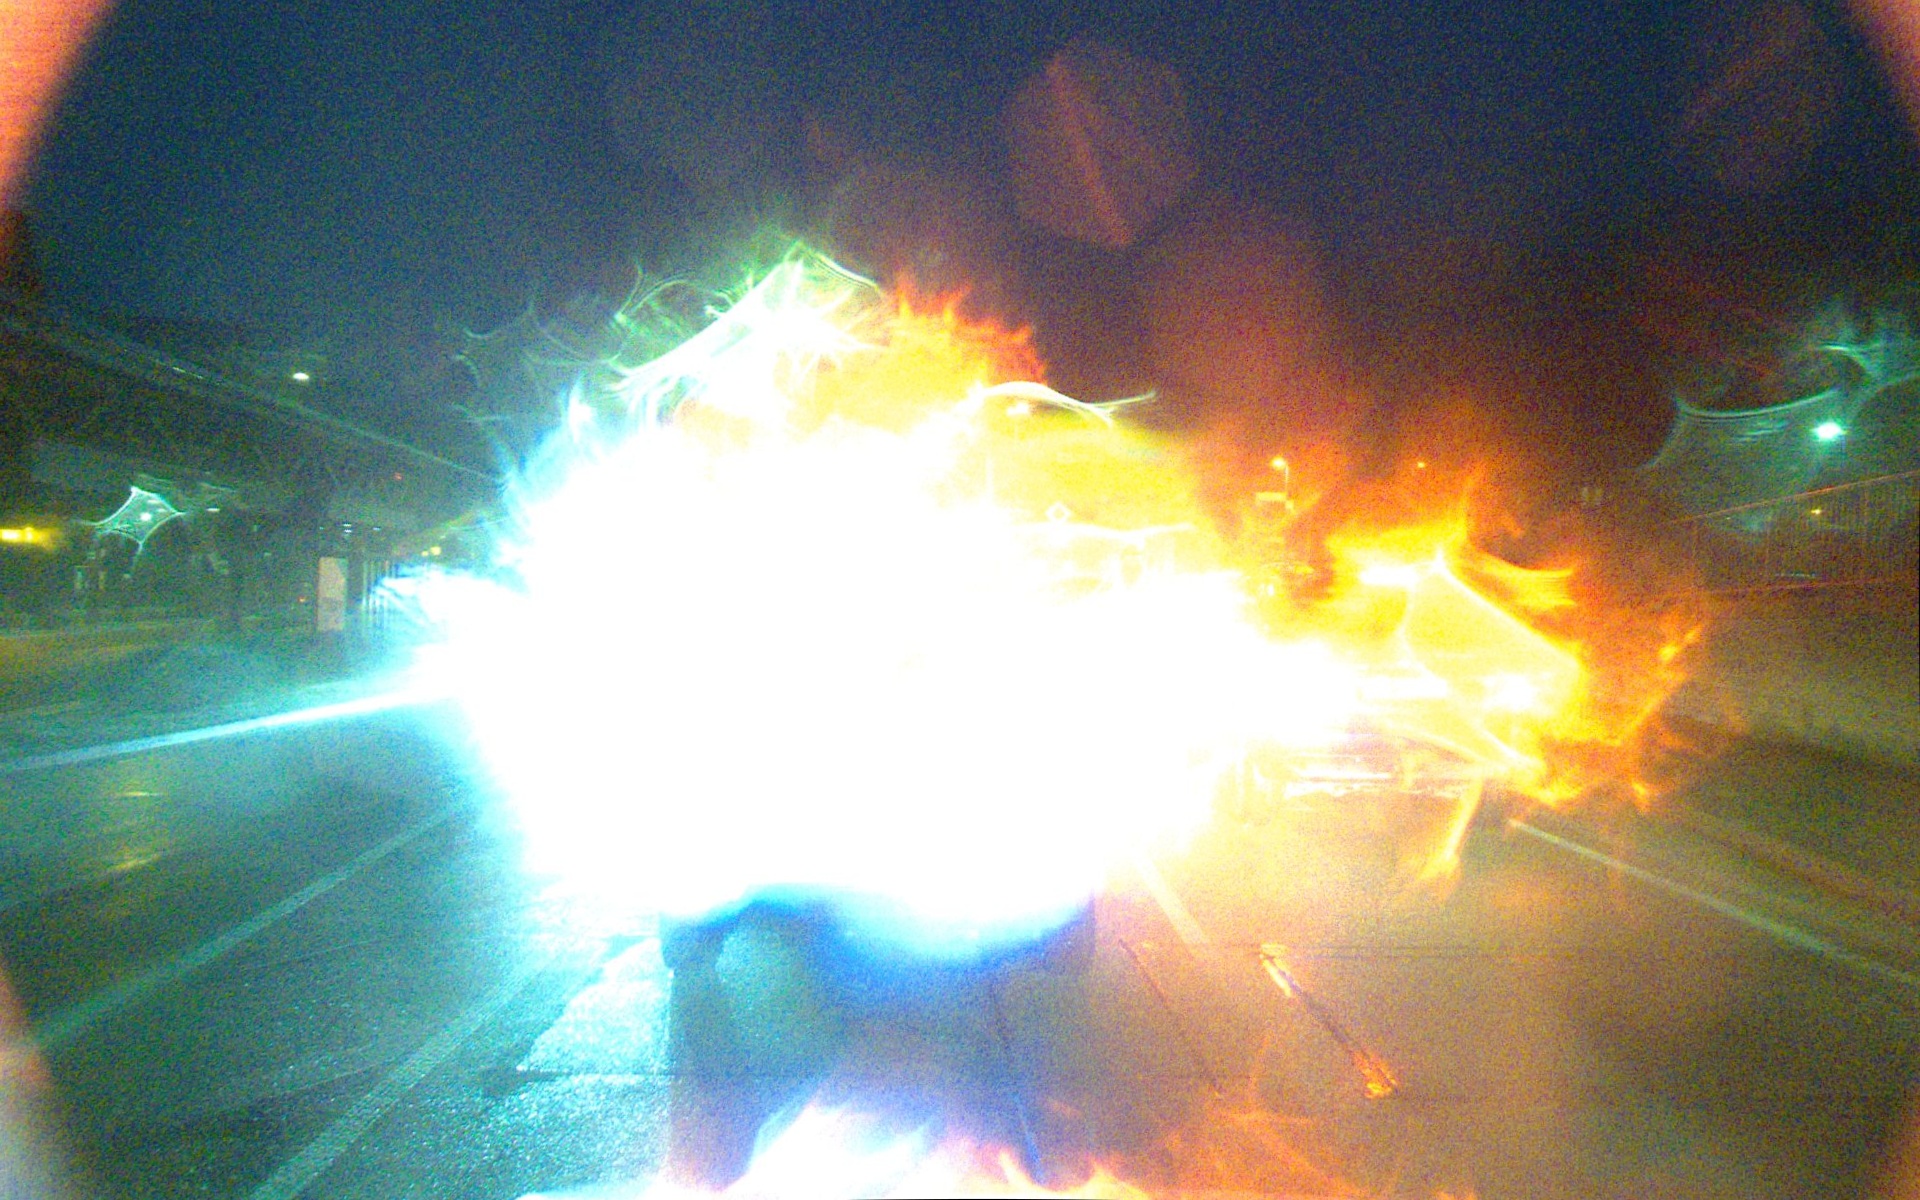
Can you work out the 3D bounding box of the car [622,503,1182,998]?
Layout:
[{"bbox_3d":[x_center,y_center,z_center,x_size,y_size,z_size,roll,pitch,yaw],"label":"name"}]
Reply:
[{"bbox_3d":[-0.312,0.555,8.137,1.974,1.747,4.449,1,0,-3],"label":"car"}]

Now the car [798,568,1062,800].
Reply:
[{"bbox_3d":[-0.251,0.640,14.411,1.953,1.713,3.999,1,0,-1],"label":"car"}]

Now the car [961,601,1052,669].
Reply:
[{"bbox_3d":[1.103,0.841,40.971,1.821,1.571,3.926,1,0,-5],"label":"car"}]

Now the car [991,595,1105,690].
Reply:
[{"bbox_3d":[1.749,0.837,34.027,1.953,1.804,3.998,1,0,-2],"label":"car"}]

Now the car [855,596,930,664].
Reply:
[{"bbox_3d":[-2.008,0.850,48.478,1.955,1.856,3.995,1,0,-6],"label":"car"}]

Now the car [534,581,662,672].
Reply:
[{"bbox_3d":[-7.044,0.457,32.571,1.851,1.595,4.482,0,2,-5],"label":"car"}]

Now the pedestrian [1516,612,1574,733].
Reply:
[{"bbox_3d":[8.491,1.041,24.019,0.610,1.731,0.540,1,-1,-3],"label":"pedestrian"}]

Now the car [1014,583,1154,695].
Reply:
[{"bbox_3d":[1.974,0.610,27.529,1.953,1.699,3.999,1,0,-1],"label":"car"}]

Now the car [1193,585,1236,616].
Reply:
[{"bbox_3d":[14.578,0.031,94.908,1.827,1.675,3.963,-2,0,0],"label":"car"}]

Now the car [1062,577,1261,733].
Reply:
[{"bbox_3d":[2.432,0.640,20.912,1.953,1.748,3.999,1,0,-1],"label":"car"}]

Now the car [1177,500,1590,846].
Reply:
[{"bbox_3d":[2.853,0.456,12.107,1.929,2.082,3.999,1,0,-1],"label":"car"}]
